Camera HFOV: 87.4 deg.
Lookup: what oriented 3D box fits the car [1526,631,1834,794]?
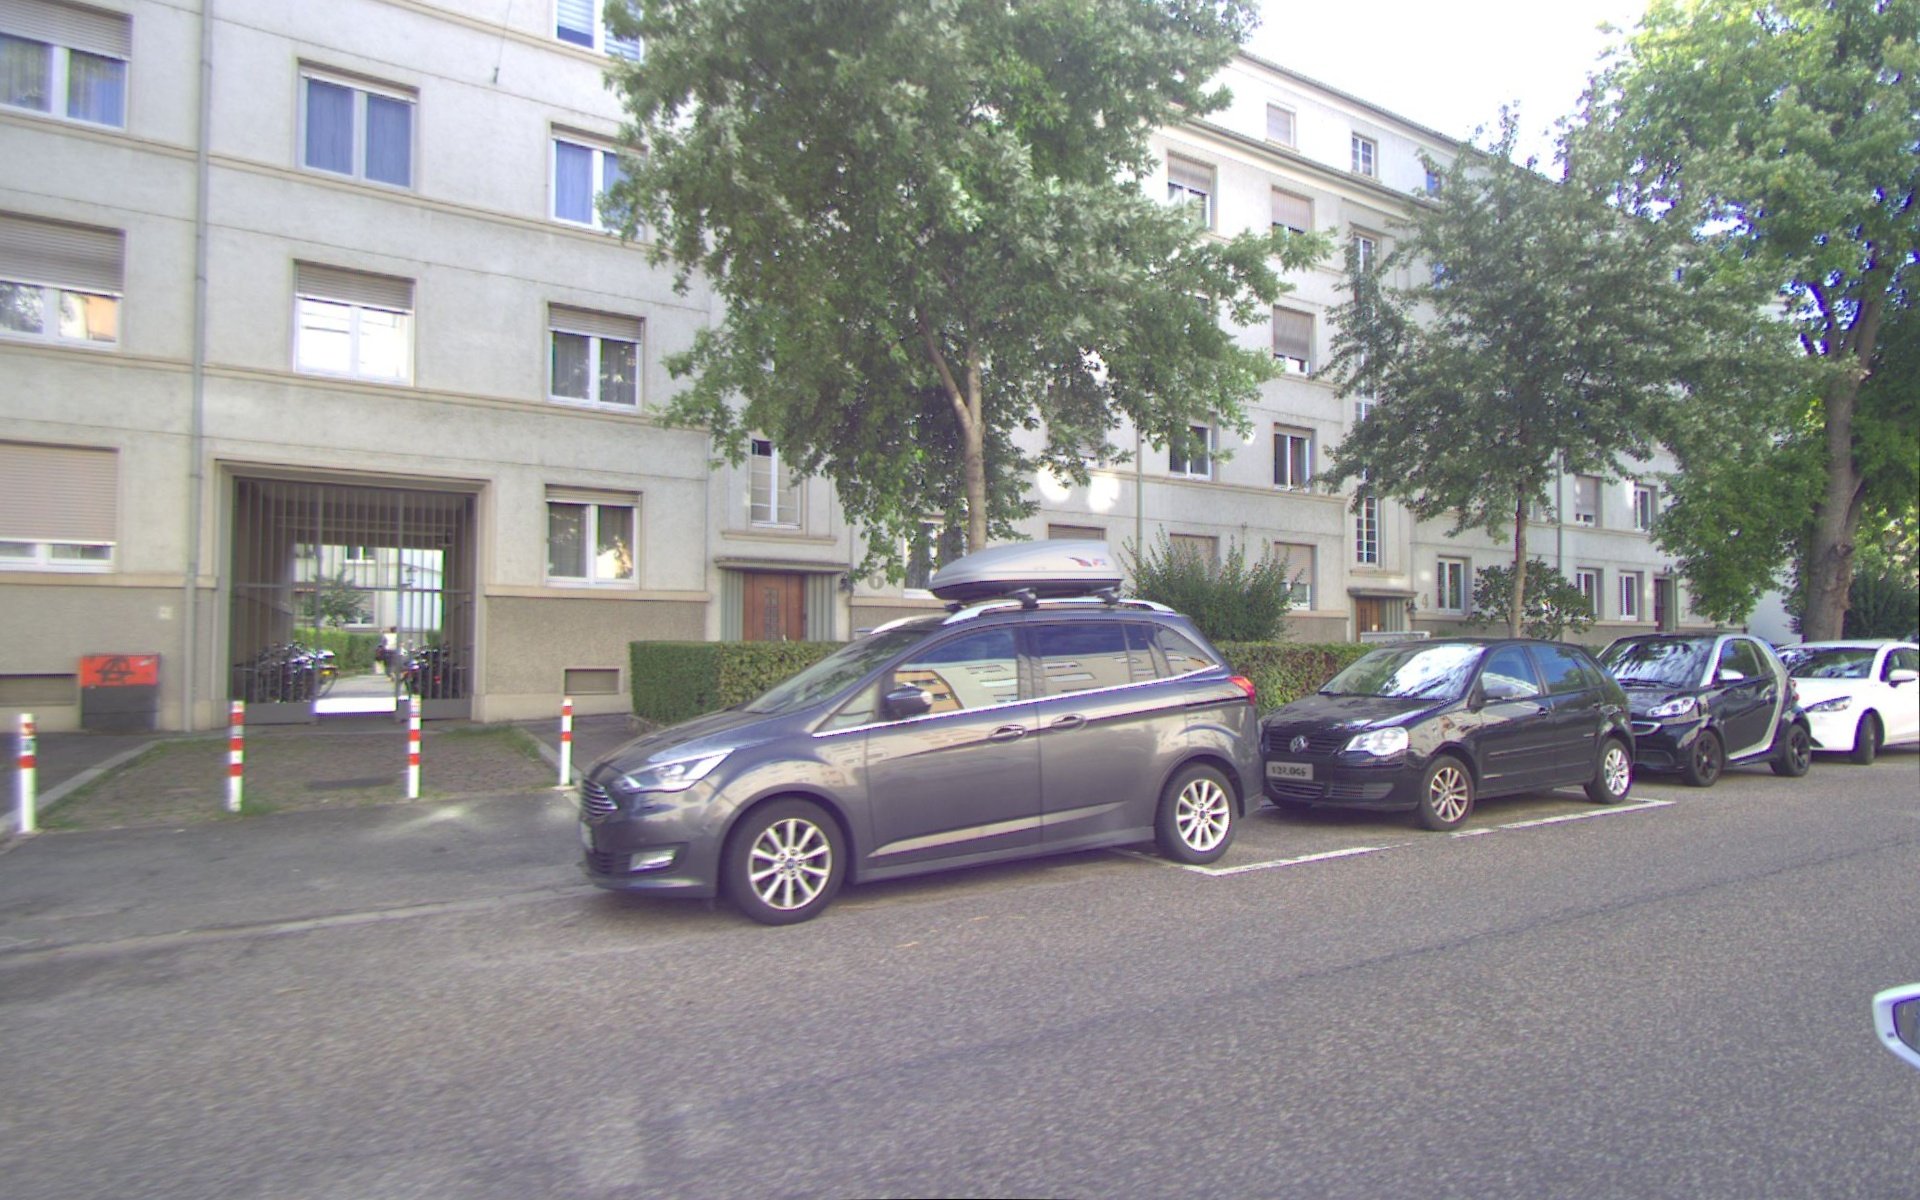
[{"bbox_3d":[7.859,1.157,10.962,2.979,1.539,1.547,1,-5,-29],"label":"car"}]

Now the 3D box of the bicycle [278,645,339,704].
[{"bbox_3d":[-13.905,1.551,21.522,0.972,1.138,3.318,1,-2,-31],"label":"bicycle"}]

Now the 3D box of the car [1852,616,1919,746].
[{"bbox_3d":[15.979,1.234,15.761,4.143,1.906,1.715,1,-4,-31],"label":"car"}]

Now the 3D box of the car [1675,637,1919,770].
[{"bbox_3d":[11.561,1.277,13.223,4.276,1.512,1.689,1,-4,-27],"label":"car"}]

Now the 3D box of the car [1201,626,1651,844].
[{"bbox_3d":[4.098,1.046,8.730,3.804,1.506,1.692,1,-5,-32],"label":"car"}]

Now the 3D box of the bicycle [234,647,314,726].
[{"bbox_3d":[-11.170,1.359,16.445,0.909,1.138,2.964,1,-2,-31],"label":"bicycle"}]

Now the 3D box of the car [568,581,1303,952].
[{"bbox_3d":[-0.061,0.870,6.504,4.428,1.689,1.792,1,-5,-30],"label":"car"}]

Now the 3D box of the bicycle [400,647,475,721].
[{"bbox_3d":[-9.238,1.429,17.709,0.980,1.138,2.571,1,-2,-31],"label":"bicycle"}]
